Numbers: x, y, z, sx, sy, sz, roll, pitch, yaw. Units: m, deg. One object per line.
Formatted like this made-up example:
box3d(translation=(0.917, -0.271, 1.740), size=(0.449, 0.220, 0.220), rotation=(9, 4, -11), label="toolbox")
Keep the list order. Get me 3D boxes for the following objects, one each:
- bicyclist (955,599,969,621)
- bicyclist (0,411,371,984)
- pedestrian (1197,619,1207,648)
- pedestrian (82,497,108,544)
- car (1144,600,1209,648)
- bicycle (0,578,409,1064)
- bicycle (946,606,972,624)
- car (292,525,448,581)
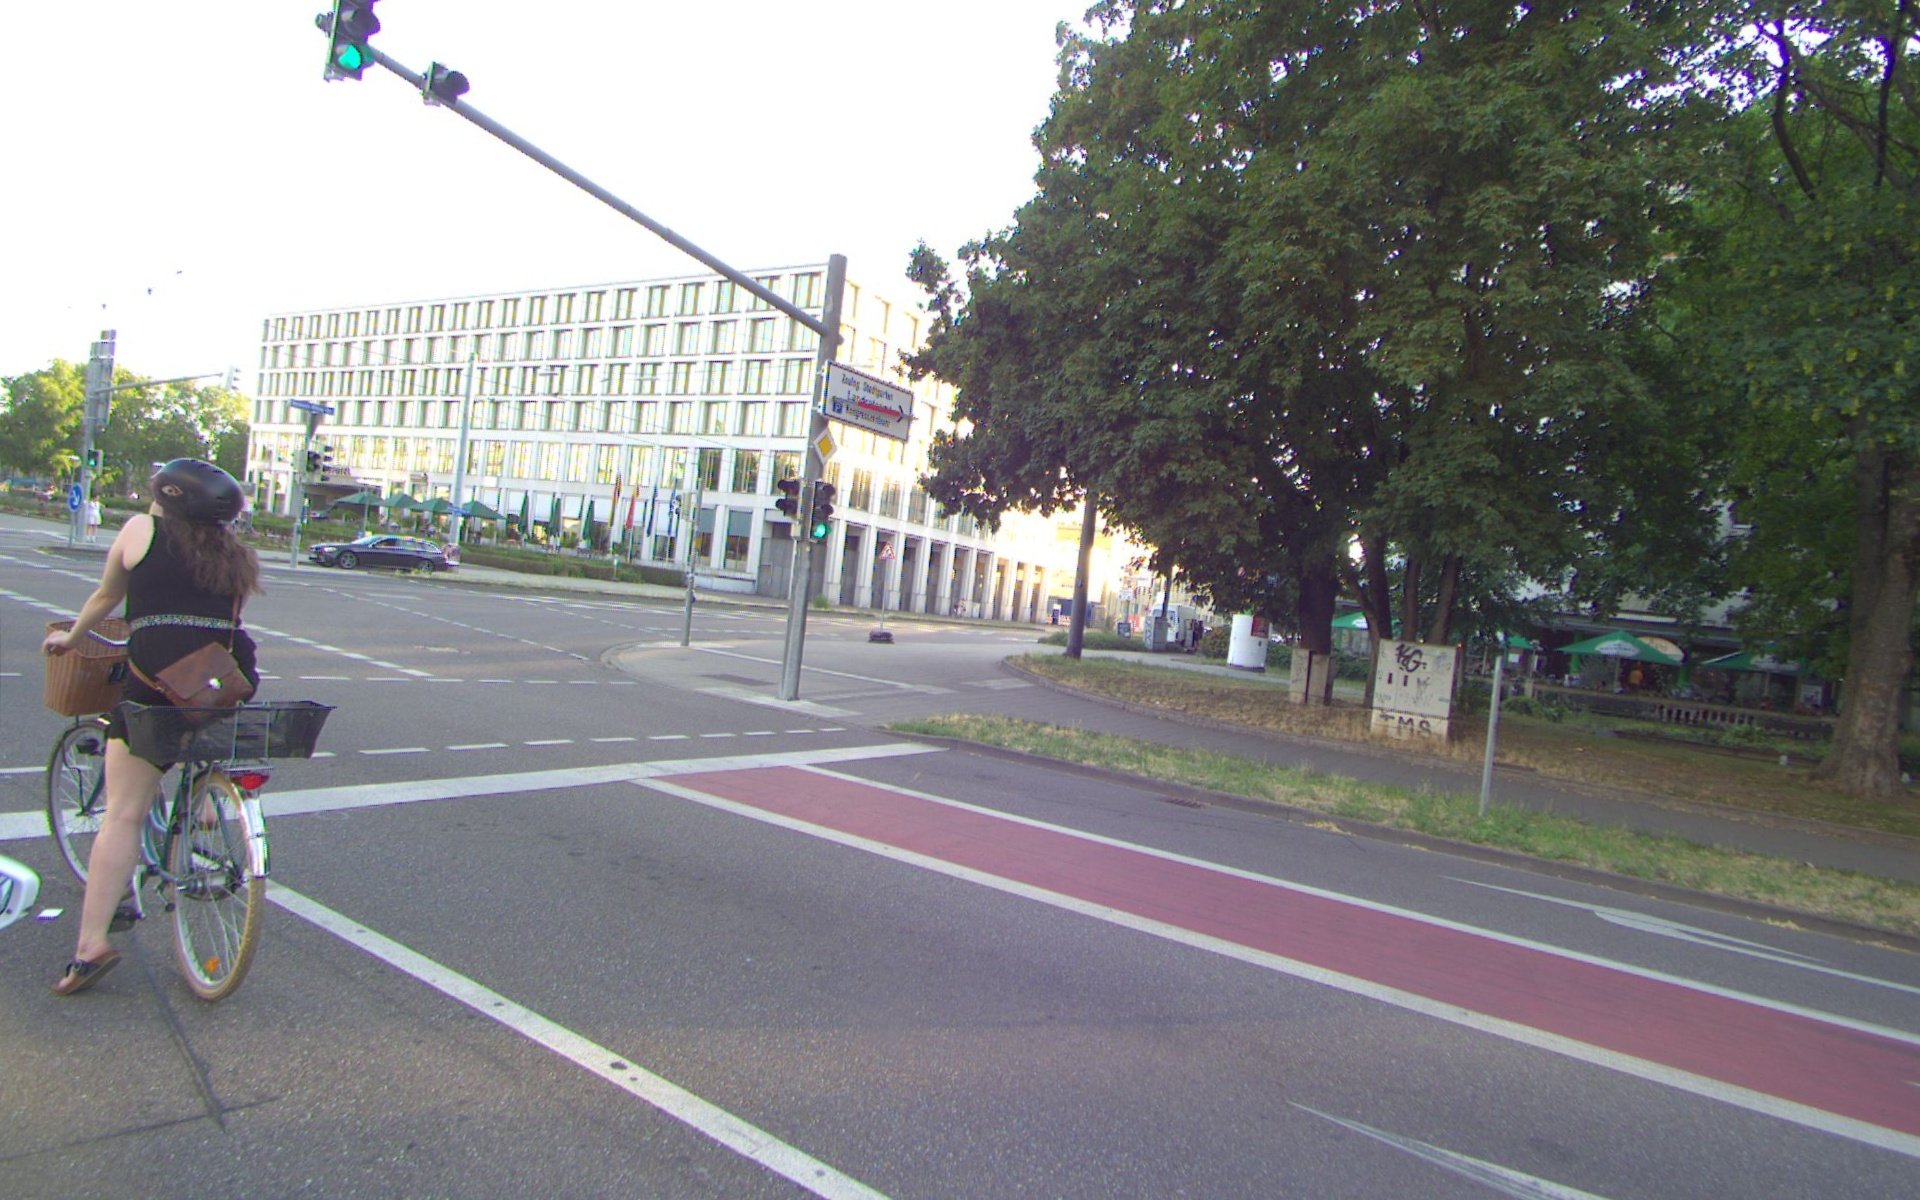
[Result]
box3d(translation=(0.136, 0.731, 75.160), size=(0.567, 1.556, 0.708), rotation=(7, 1, 29), label="bicyclist")
box3d(translation=(-2.664, 0.259, 3.403), size=(0.982, 1.655, 0.600), rotation=(7, 0, 32), label="bicyclist")
box3d(translation=(13.393, 1.854, 55.664), size=(0.302, 1.525, 0.336), rotation=(7, -1, 31), label="pedestrian")
box3d(translation=(-30.159, -2.770, 35.070), size=(0.402, 1.559, 0.491), rotation=(7, 2, 31), label="pedestrian")
box3d(translation=(11.987, 1.359, 55.558), size=(1.967, 2.318, 4.605), rotation=(6, 0, 31), label="car")
box3d(translation=(-2.815, 0.599, 3.465), size=(1.971, 1.146, 0.612), rotation=(7, -1, 32), label="bicycle")
box3d(translation=(-0.053, 1.117, 74.921), size=(0.592, 1.120, 2.775), rotation=(7, 0, 29), label="bicycle")
box3d(translation=(-23.031, -1.793, 39.449), size=(1.968, 1.534, 4.826), rotation=(7, 0, 34), label="car")
